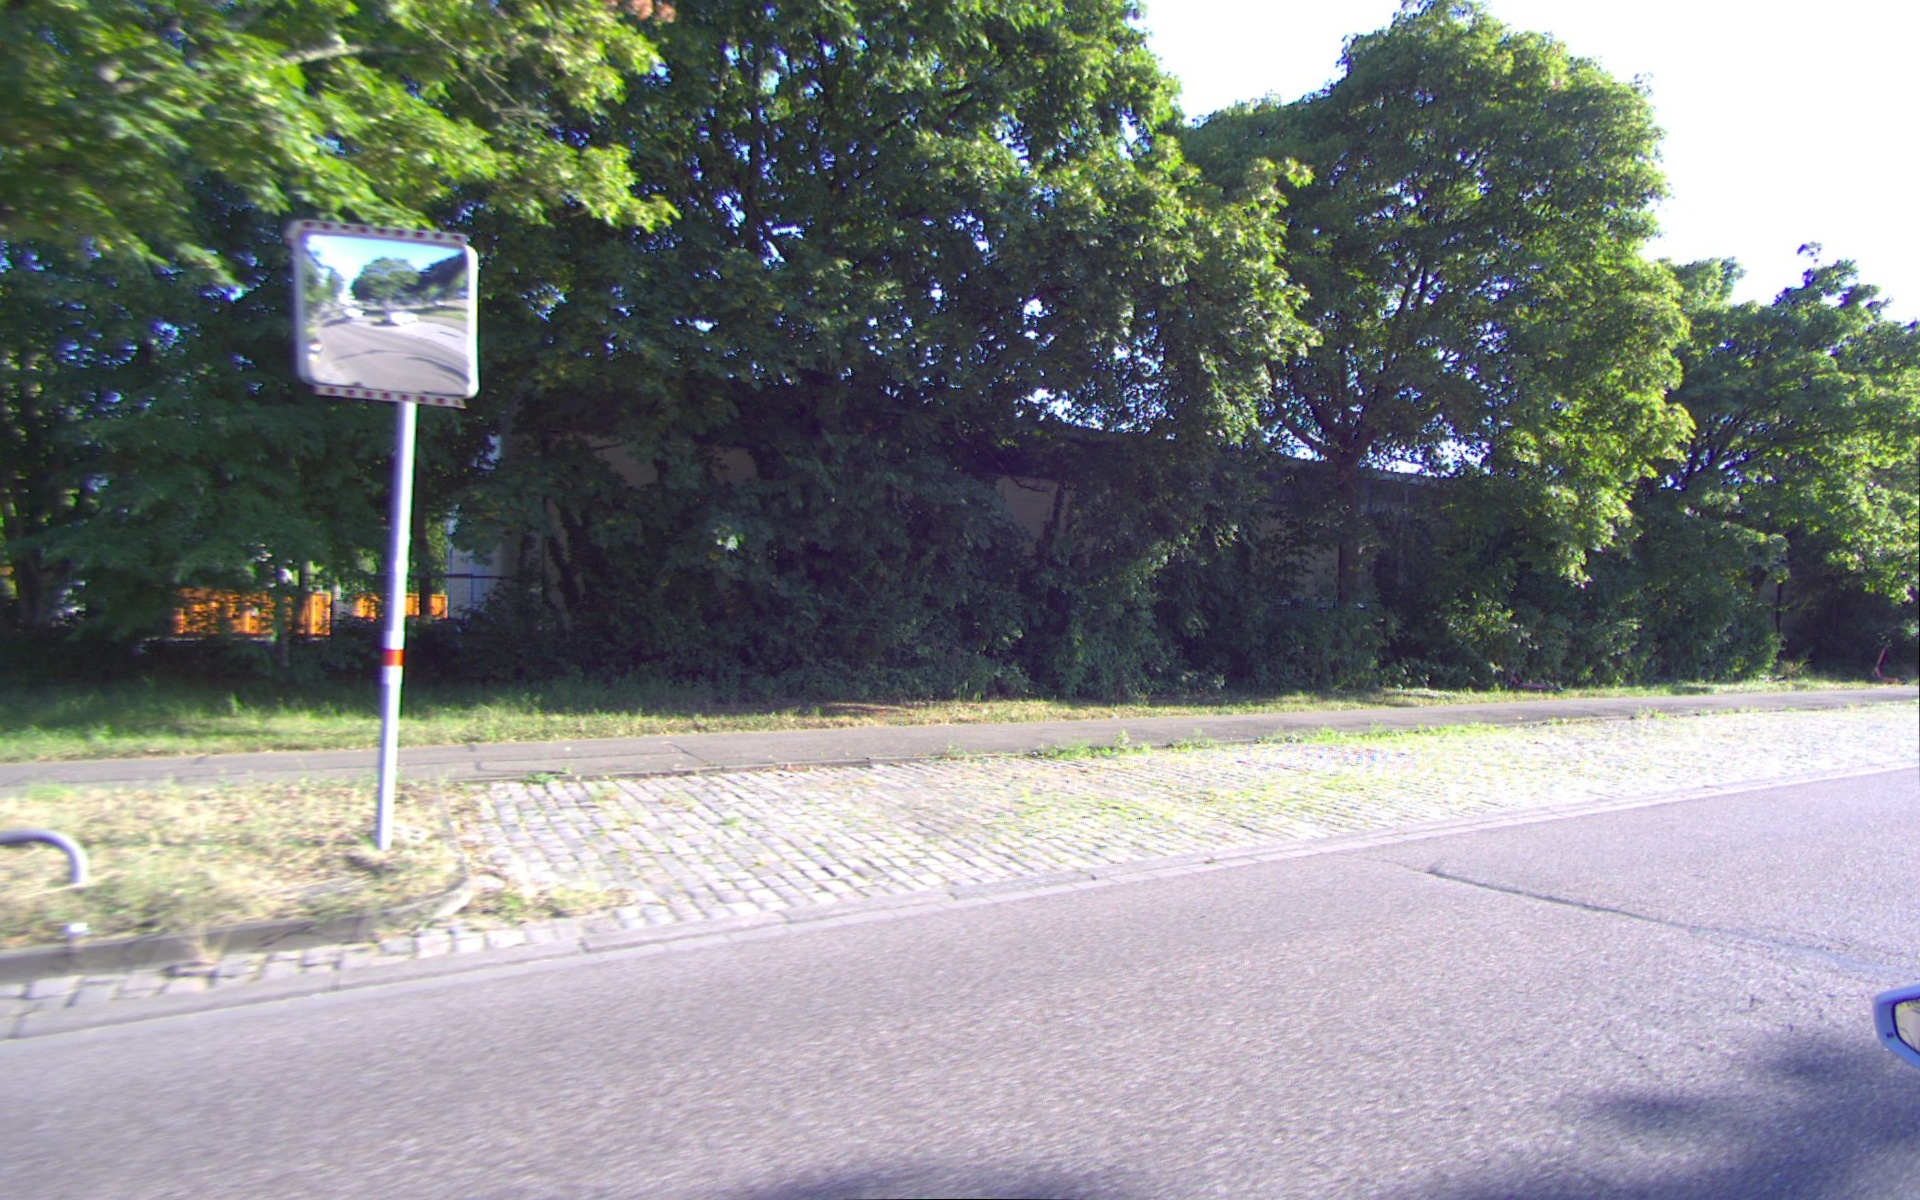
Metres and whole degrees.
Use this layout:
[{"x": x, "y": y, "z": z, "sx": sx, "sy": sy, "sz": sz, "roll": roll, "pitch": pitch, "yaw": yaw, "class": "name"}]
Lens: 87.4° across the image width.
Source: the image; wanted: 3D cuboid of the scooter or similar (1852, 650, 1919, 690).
[{"x": 28.417, "y": 2.133, "z": 30.770, "sx": 1.552, "sy": 1.160, "sz": 0.578, "roll": 1, "pitch": -2, "yaw": 10, "class": "scooter or similar"}]
